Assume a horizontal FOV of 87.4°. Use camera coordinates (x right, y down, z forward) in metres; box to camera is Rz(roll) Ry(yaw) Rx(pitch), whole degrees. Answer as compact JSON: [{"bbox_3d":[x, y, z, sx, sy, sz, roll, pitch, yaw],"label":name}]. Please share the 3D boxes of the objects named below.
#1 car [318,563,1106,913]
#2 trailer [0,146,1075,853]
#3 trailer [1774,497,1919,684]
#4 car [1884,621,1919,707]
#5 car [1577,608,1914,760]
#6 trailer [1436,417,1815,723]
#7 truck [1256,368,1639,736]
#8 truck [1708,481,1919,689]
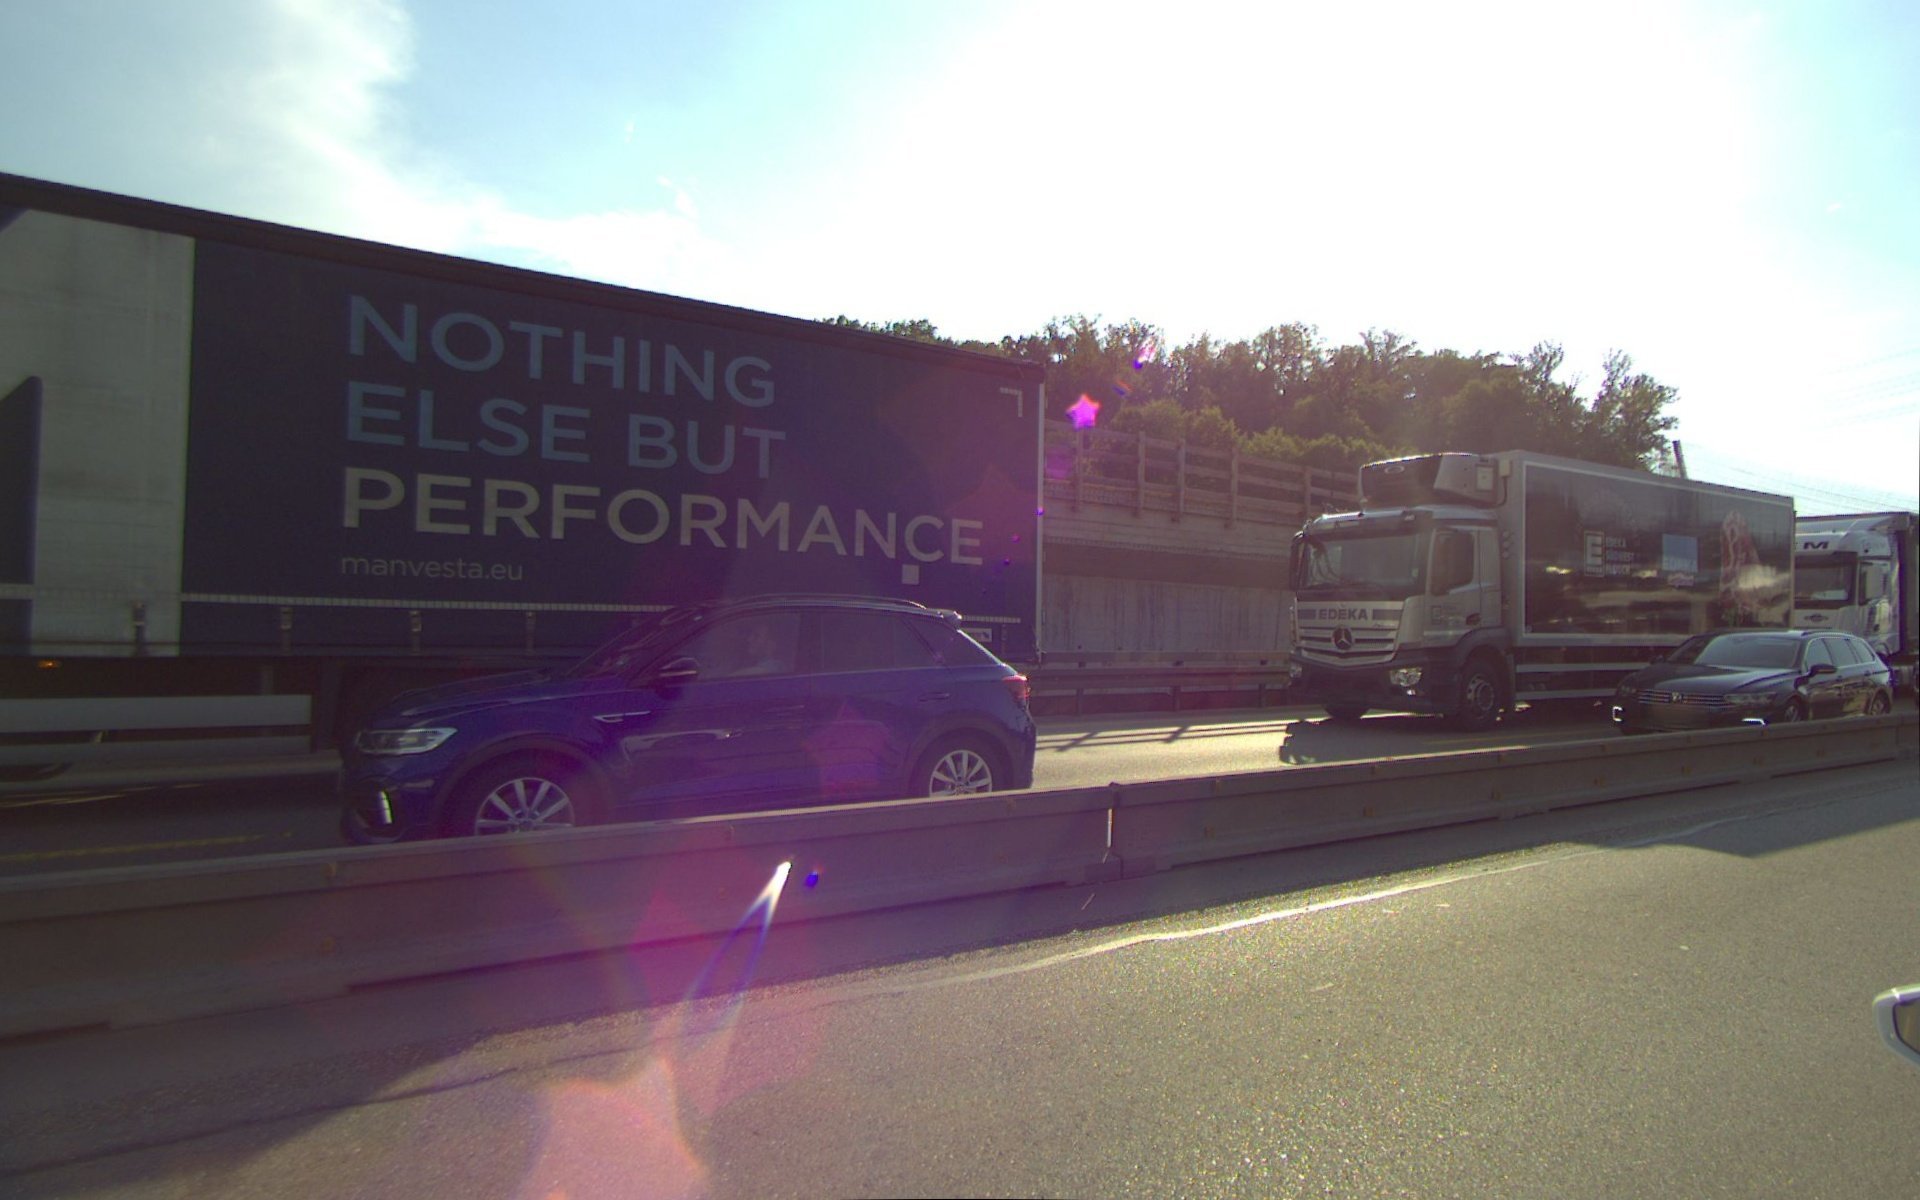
[{"bbox_3d":[-1.383,0.717,6.408,4.428,1.571,1.758,3,-1,-31],"label":"car"},{"bbox_3d":[-5.446,-0.547,7.855,13.672,4.258,2.763,2,-2,-30],"label":"trailer"},{"bbox_3d":[25.877,0.006,26.883,12.359,4.177,2.699,2,-2,-33],"label":"trailer"},{"bbox_3d":[20.523,1.271,19.956,5.310,1.626,1.866,2,-3,-33],"label":"car"},{"bbox_3d":[10.385,1.059,13.192,4.692,1.607,1.853,3,1,-31],"label":"car"},{"bbox_3d":[12.008,-0.333,17.947,7.072,4.524,2.896,2,-1,-32],"label":"trailer"},{"bbox_3d":[7.312,-0.512,15.037,4.971,4.574,2.904,2,-1,-31],"label":"truck"},{"bbox_3d":[19.545,-0.201,22.685,4.978,4.169,2.733,2,-2,-34],"label":"truck"}]
